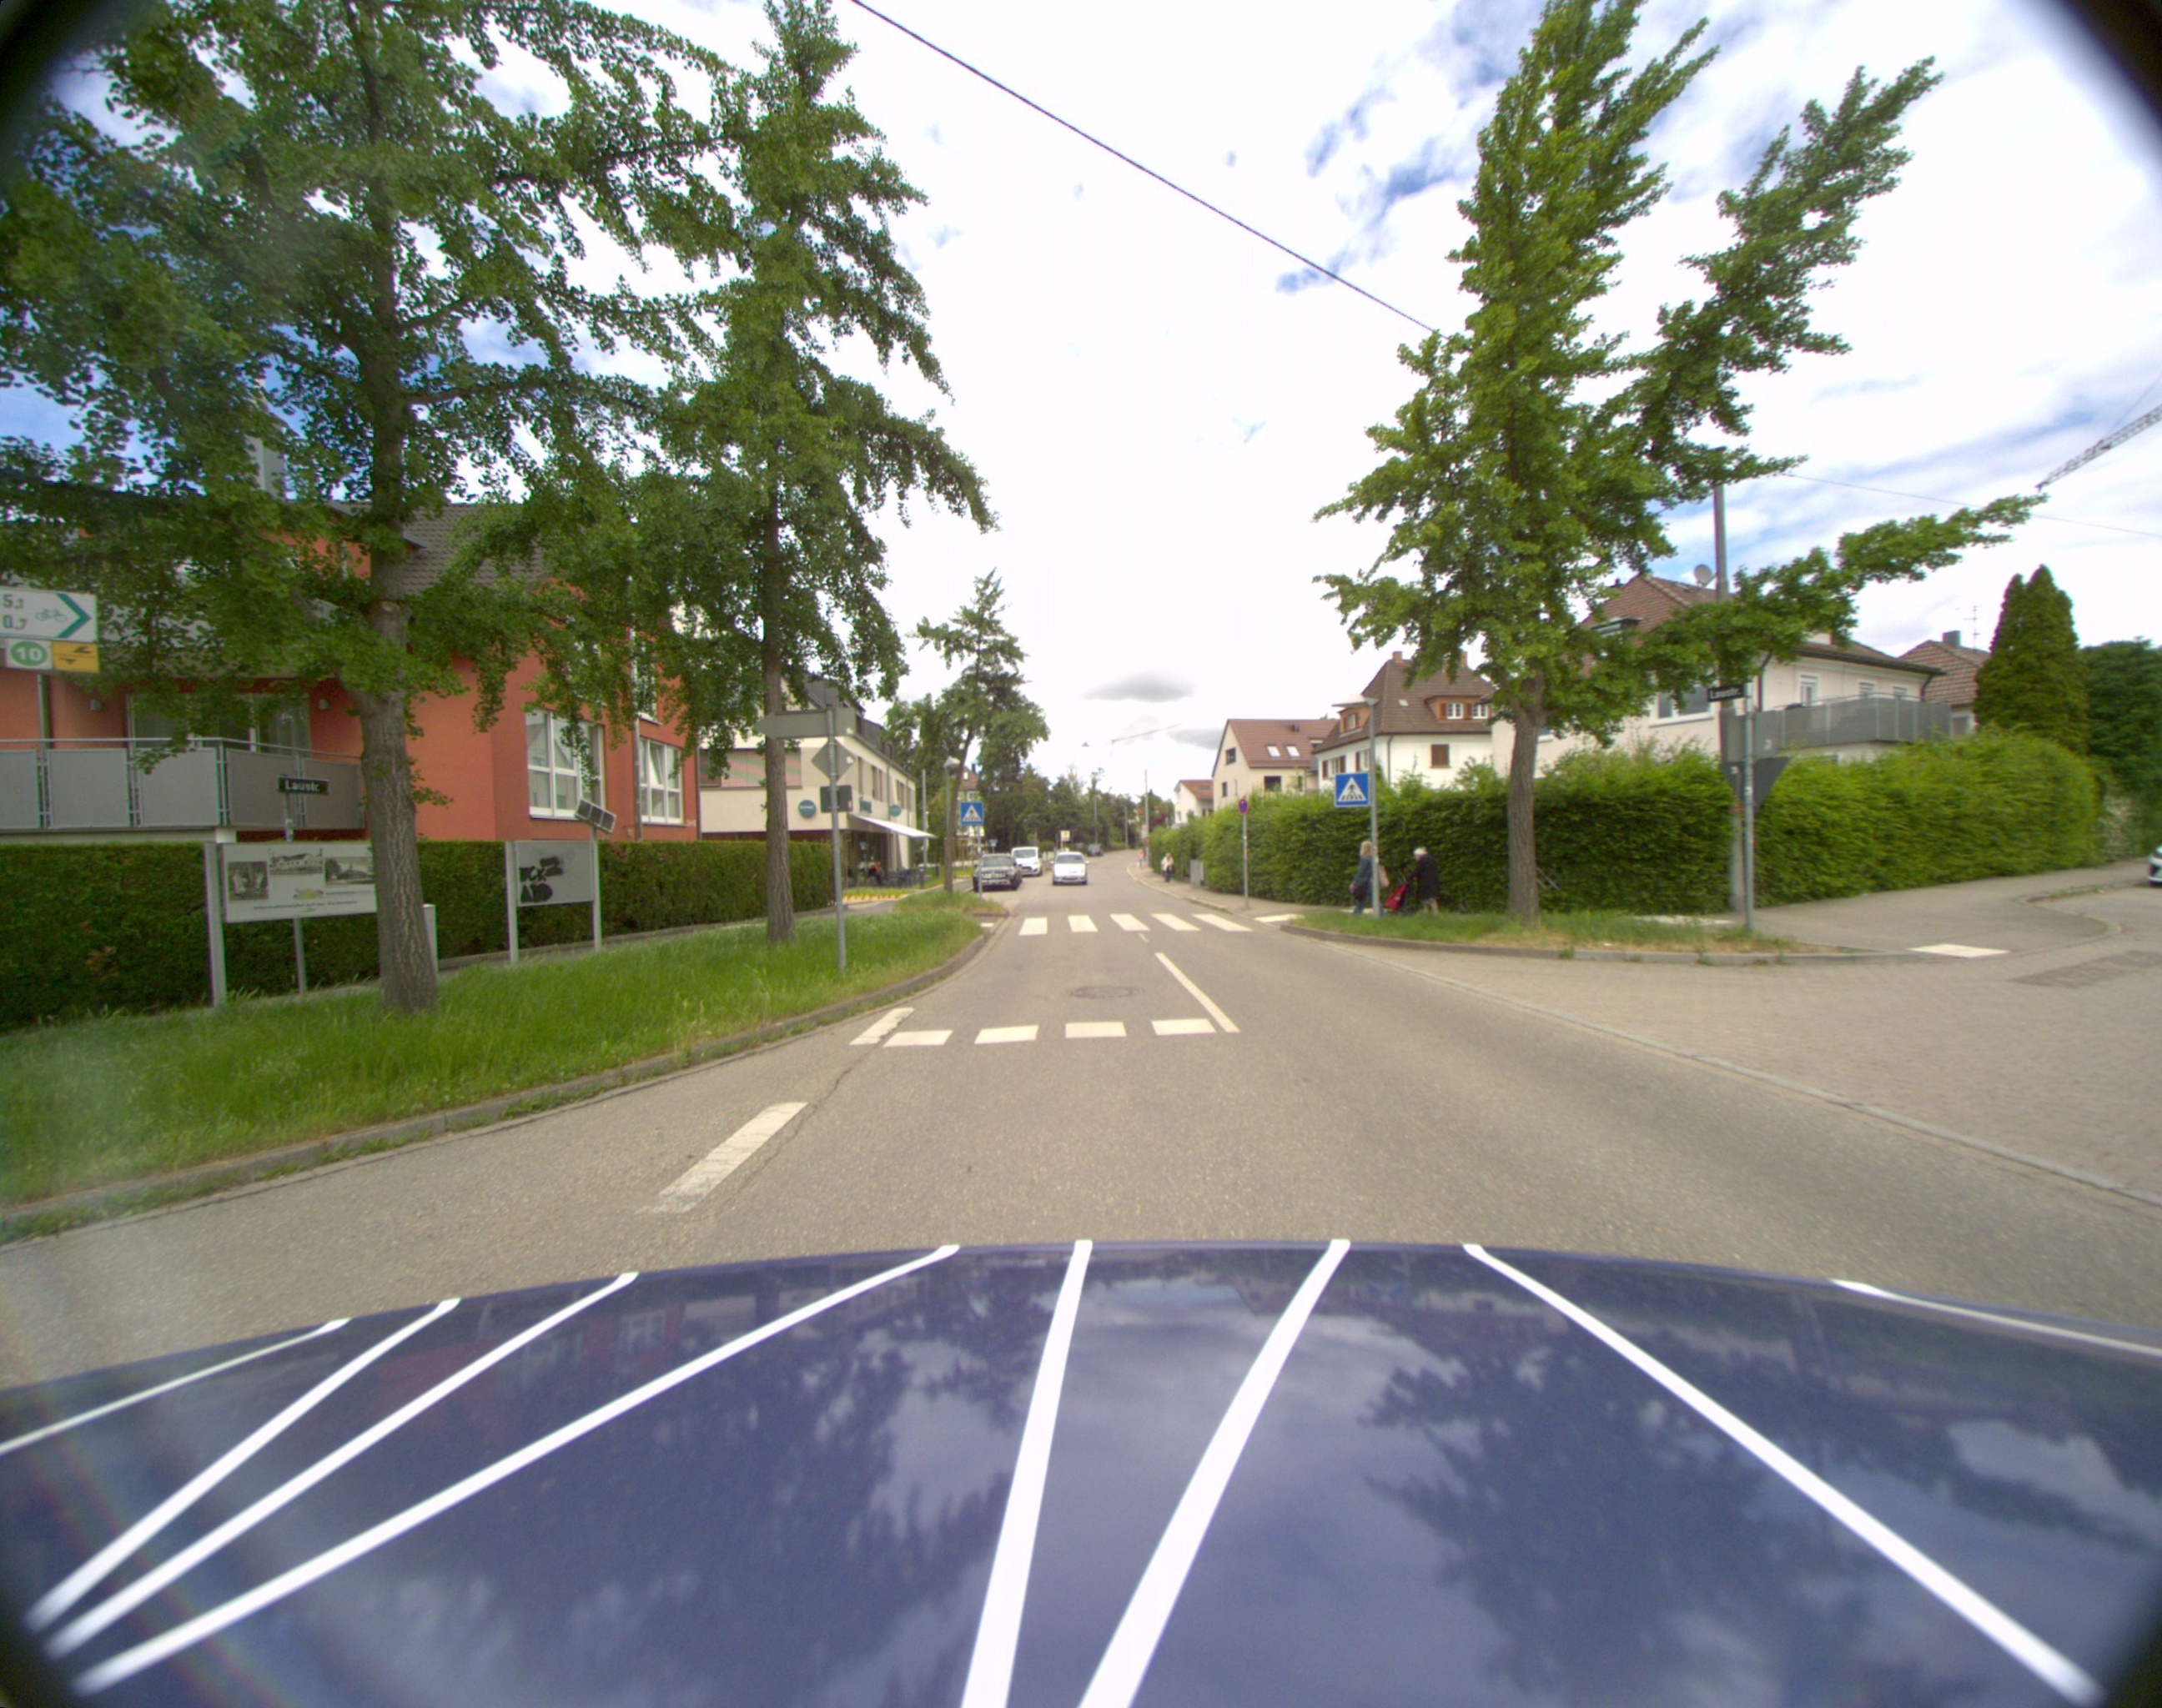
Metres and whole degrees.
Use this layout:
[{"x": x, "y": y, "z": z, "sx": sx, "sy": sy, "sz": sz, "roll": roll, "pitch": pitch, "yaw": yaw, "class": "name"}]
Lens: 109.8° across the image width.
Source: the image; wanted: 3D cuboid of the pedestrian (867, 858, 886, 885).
[{"x": -9.872, "y": 0.835, "z": 36.705, "sx": 0.753, "sy": 1.231, "sz": 0.691, "roll": -1, "pitch": 1, "yaw": -6, "class": "pedestrian"}]

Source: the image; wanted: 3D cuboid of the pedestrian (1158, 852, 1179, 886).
[{"x": 4.137, "y": 0.702, "z": 35.824, "sx": 0.749, "sy": 1.522, "sz": 0.544, "roll": -3, "pitch": 1, "yaw": -14, "class": "pedestrian"}]

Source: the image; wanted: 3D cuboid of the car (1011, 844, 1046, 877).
[{"x": -3.473, "y": 0.367, "z": 51.005, "sx": 1.999, "sy": 2.002, "sz": 5.565, "roll": -3, "pitch": 1, "yaw": -1, "class": "car"}]

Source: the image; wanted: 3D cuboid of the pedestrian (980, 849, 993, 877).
[{"x": -5.661, "y": 0.538, "z": 45.323, "sx": 0.678, "sy": 1.659, "sz": 0.659, "roll": 0, "pitch": 1, "yaw": -1, "class": "pedestrian"}]

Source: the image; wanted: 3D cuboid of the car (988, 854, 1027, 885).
[{"x": -3.760, "y": 0.757, "z": 39.415, "sx": 1.711, "sy": 1.444, "sz": 3.833, "roll": -2, "pitch": 1, "yaw": -2, "class": "car"}]

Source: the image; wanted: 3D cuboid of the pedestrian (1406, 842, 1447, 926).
[{"x": 6.867, "y": 0.584, "z": 15.106, "sx": 0.597, "sy": 1.610, "sz": 0.679, "roll": -3, "pitch": 1, "yaw": 30, "class": "pedestrian"}]

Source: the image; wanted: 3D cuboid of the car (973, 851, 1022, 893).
[{"x": -3.677, "y": 0.733, "z": 34.006, "sx": 1.852, "sy": 1.627, "sz": 4.464, "roll": -2, "pitch": 1, "yaw": -3, "class": "car"}]

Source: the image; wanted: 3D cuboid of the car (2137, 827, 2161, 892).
[{"x": 24.460, "y": 0.069, "z": 16.176, "sx": 3.777, "sy": 1.305, "sz": 1.777, "roll": -2, "pitch": 2, "yaw": -28, "class": "car"}]

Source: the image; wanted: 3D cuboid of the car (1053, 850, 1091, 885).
[{"x": -0.433, "y": 0.632, "z": 37.597, "sx": 1.726, "sy": 1.559, "sz": 3.926, "roll": -2, "pitch": 1, "yaw": -1, "class": "car"}]

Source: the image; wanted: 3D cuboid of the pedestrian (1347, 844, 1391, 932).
[{"x": 5.529, "y": 0.644, "z": 14.589, "sx": 0.597, "sy": 1.610, "sz": 0.679, "roll": -3, "pitch": 1, "yaw": 30, "class": "pedestrian"}]

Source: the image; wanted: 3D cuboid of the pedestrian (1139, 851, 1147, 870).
[{"x": 5.192, "y": 0.525, "z": 63.476, "sx": 0.619, "sy": 1.590, "sz": 0.608, "roll": -2, "pitch": 1, "yaw": -2, "class": "pedestrian"}]

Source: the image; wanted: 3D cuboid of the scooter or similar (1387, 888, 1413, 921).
[{"x": 6.473, "y": 1.028, "z": 15.413, "sx": 0.399, "sy": 0.606, "sz": 0.489, "roll": -4, "pitch": 2, "yaw": 30, "class": "scooter or similar"}]
